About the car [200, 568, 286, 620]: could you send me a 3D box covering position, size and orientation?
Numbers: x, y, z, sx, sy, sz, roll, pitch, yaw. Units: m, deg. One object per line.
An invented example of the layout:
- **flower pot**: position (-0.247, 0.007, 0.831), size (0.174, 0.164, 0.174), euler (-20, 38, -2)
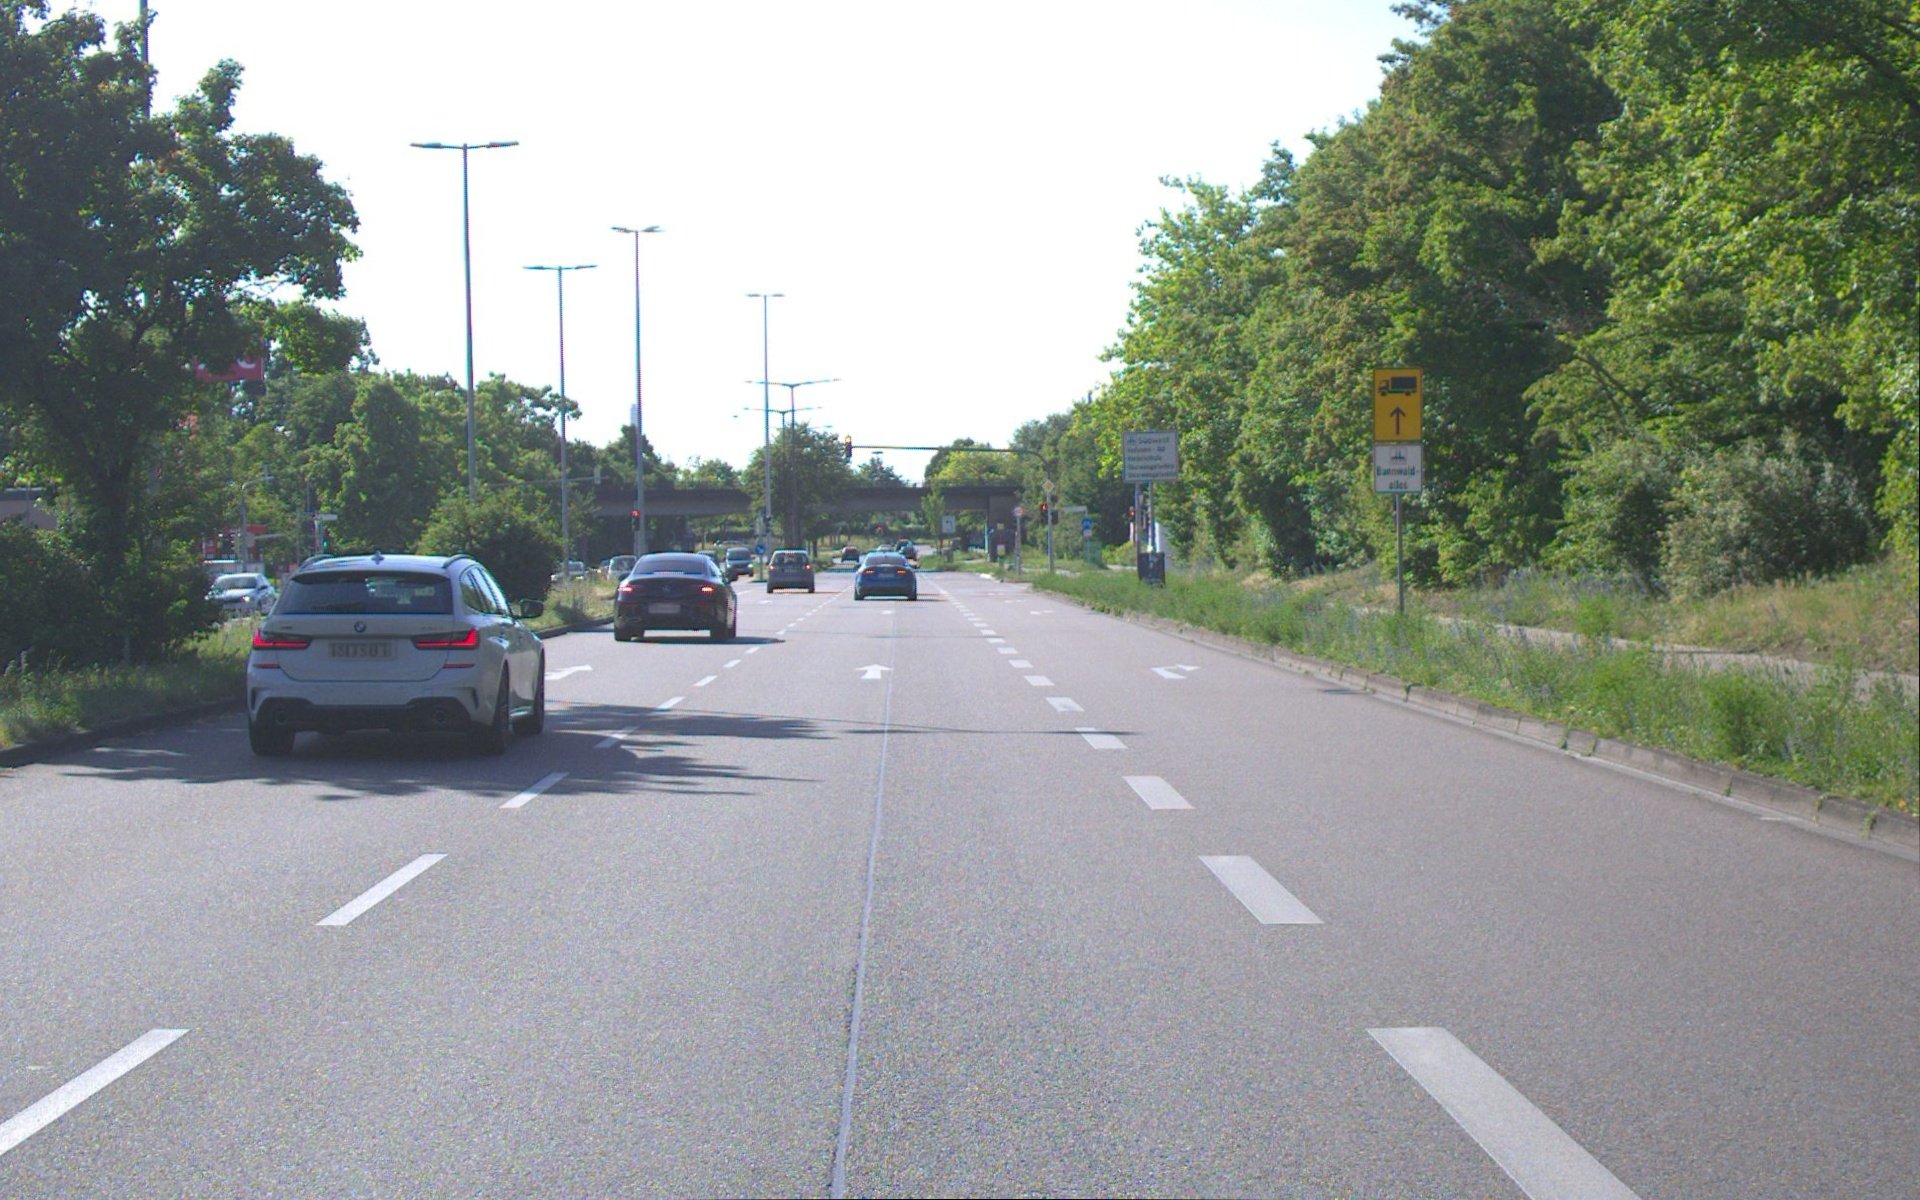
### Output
- **car**: position (-21.932, -0.193, 105.289), size (1.739, 1.450, 4.209), euler (-3, 1, -1)

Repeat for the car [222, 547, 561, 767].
- **car**: position (-4.194, 0.359, 26.056), size (1.861, 1.450, 4.548), euler (1, 1, -1)

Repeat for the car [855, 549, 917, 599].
- **car**: position (-2.292, -0.820, 106.106), size (1.861, 1.494, 4.337), euler (-1, 1, -1)

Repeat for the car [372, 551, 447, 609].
- **car**: position (-18.546, -0.686, 116.012), size (1.739, 1.796, 4.671), euler (-4, 1, -1)

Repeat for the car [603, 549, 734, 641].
- **car**: position (-4.840, -0.118, 57.594), size (1.861, 1.450, 4.548), euler (-1, 1, -1)

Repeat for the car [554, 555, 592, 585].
- **car**: position (-19.665, -1.512, 174.686), size (1.535, 1.447, 3.671), euler (-2, 1, -1)

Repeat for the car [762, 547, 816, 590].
- **car**: position (-6.336, -1.177, 127.966), size (1.861, 1.560, 4.548), euler (0, 1, -1)

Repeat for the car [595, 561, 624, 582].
- **car**: position (-24.121, -1.954, 236.710), size (1.703, 1.397, 3.723), euler (-1, 1, -1)
